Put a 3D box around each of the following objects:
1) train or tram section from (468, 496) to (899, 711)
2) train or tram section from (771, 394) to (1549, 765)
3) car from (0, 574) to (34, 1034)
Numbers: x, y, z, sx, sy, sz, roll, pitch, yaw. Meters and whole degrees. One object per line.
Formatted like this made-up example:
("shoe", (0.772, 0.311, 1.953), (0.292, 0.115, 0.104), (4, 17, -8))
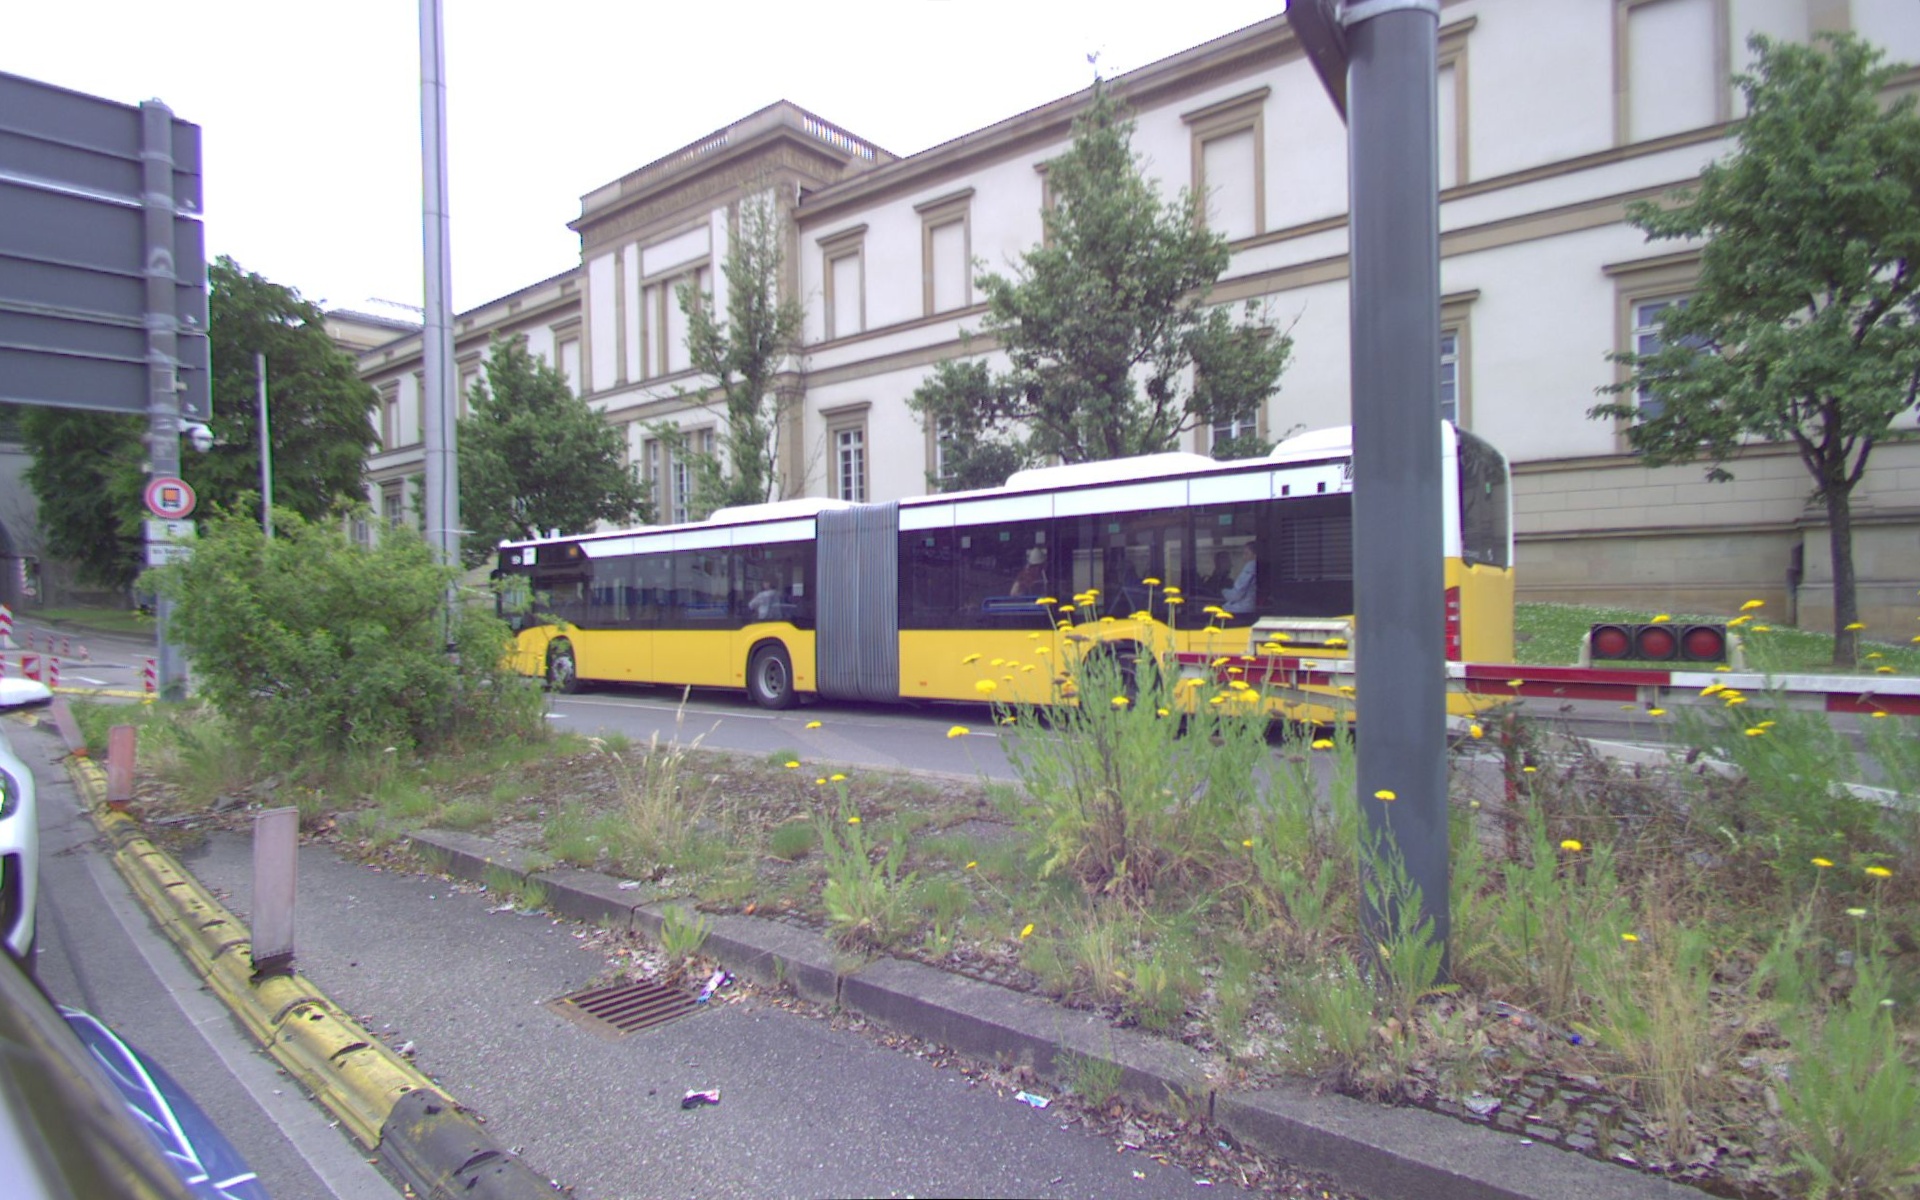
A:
("train or tram section", (-5.459, 0.160, 18.507), (9.366, 3.094, 2.667), (-2, -2, 39))
("train or tram section", (1.680, -0.063, 12.507), (9.330, 3.094, 2.666), (-2, -2, 41))
("car", (-5.230, 0.721, 4.208), (3.911, 1.568, 1.733), (-1, 0, 43))
